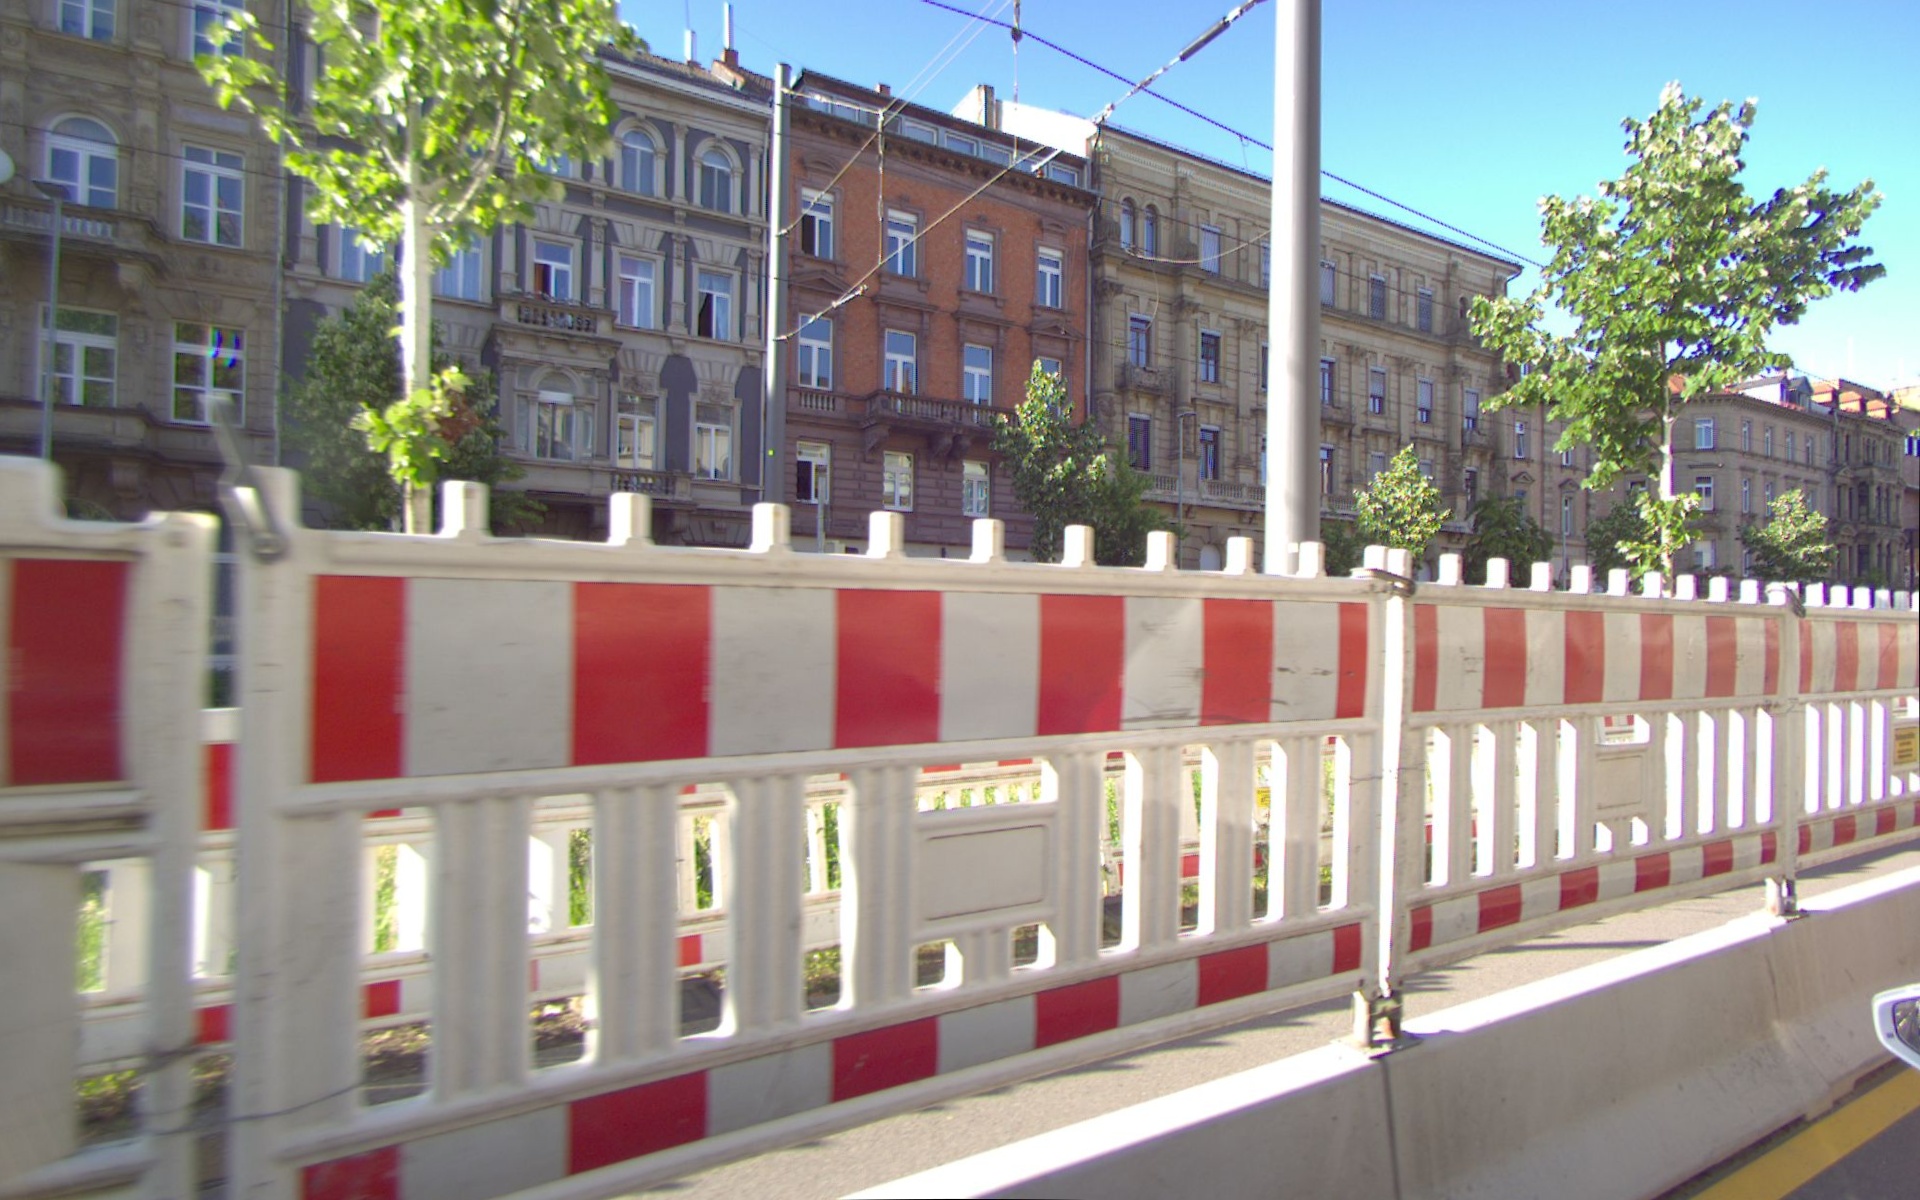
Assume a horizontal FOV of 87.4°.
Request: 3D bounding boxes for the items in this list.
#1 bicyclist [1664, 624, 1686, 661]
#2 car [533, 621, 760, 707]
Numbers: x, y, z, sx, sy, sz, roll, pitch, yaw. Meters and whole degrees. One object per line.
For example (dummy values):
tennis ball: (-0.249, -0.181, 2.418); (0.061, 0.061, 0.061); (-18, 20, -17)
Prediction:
bicyclist: (35.582, 2.120, 50.001); (0.870, 1.797, 0.854); (0, -2, 34)
car: (-6.922, 1.377, 22.235); (4.489, 1.680, 1.930); (2, 0, -29)
